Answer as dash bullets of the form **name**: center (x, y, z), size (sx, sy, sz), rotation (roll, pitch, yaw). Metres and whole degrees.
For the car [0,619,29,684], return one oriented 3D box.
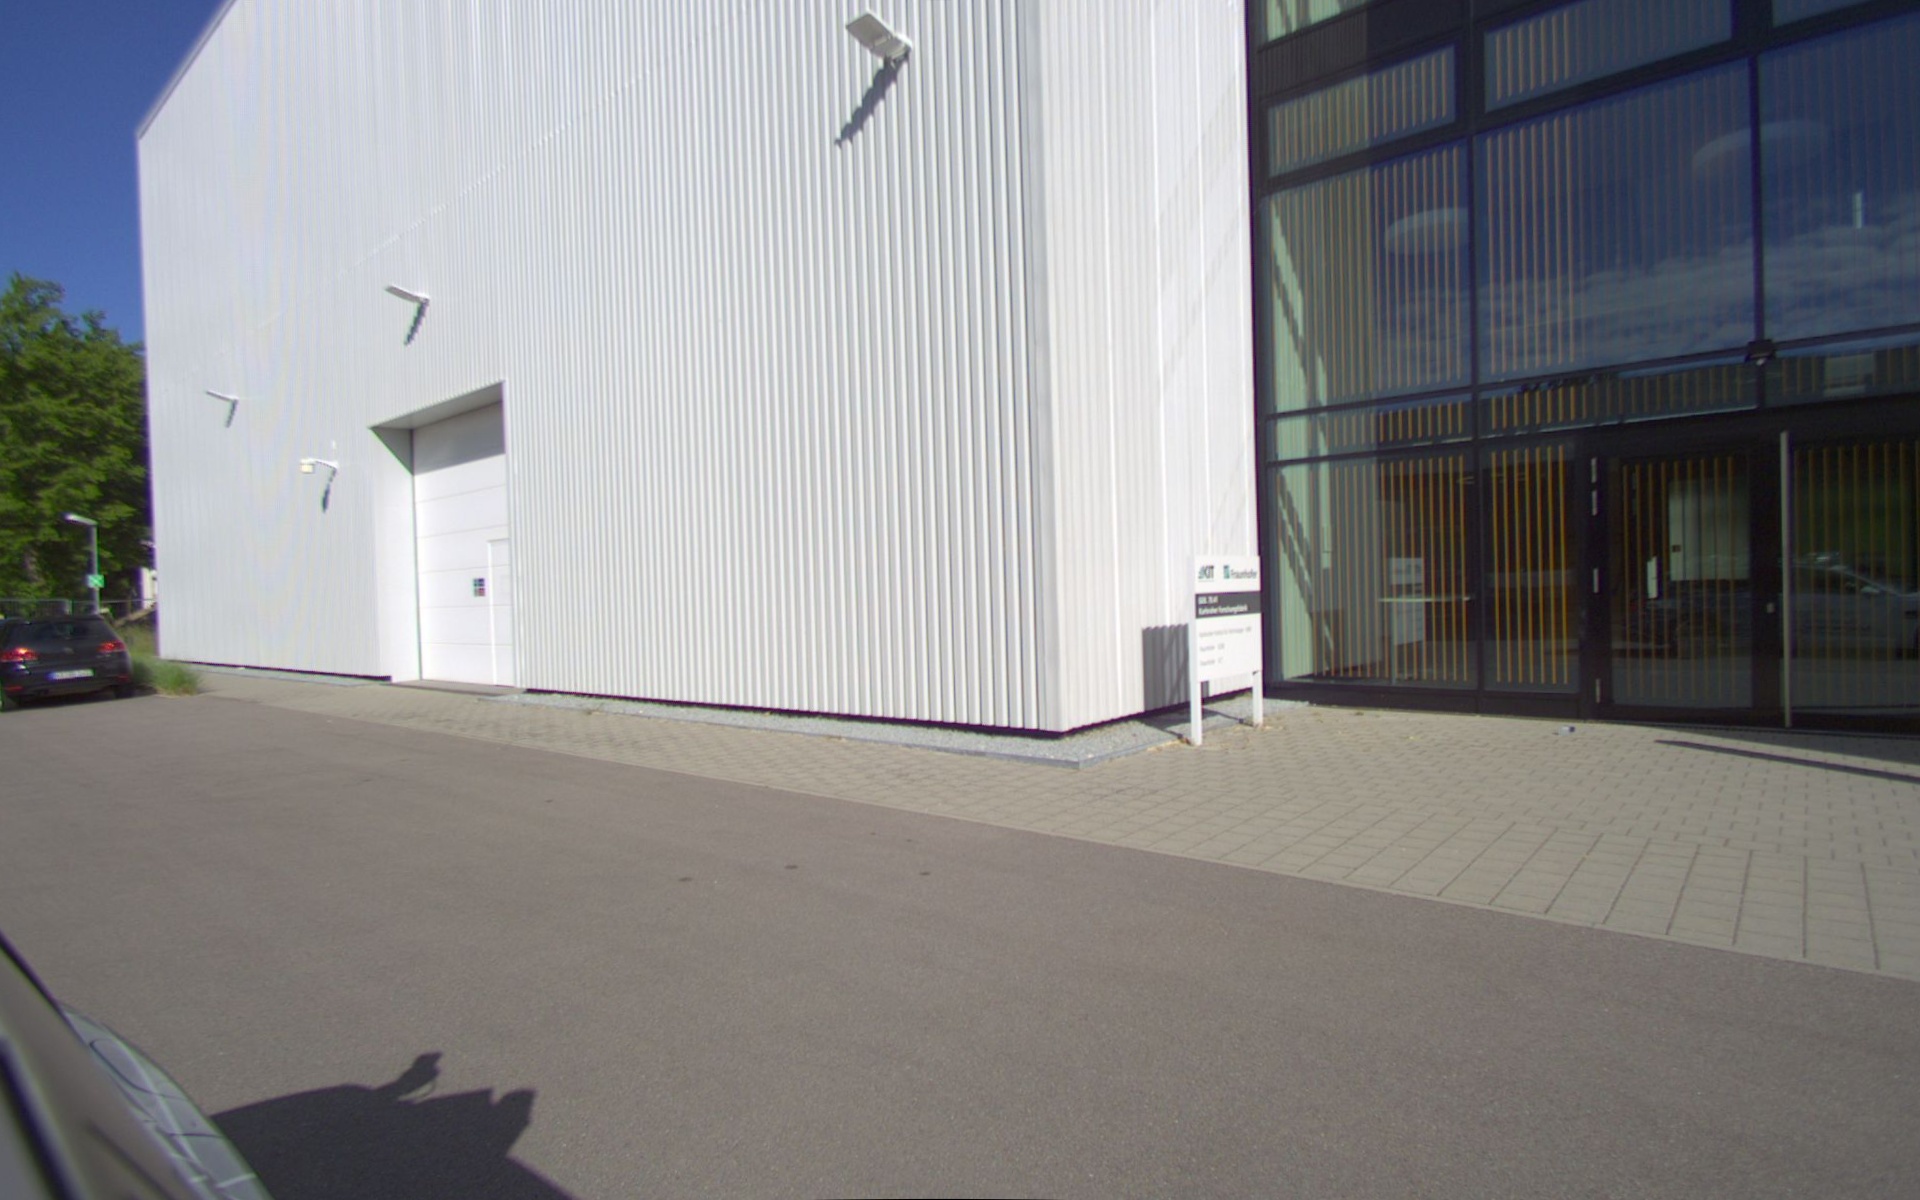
- **car**: center (-23.502, 1.264, 23.880), size (3.794, 1.459, 1.695), rotation (-2, 2, 39)

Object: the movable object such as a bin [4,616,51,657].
- **movable object such as a bin**: center (-33.529, 1.308, 36.395), size (1.288, 1.445, 1.126), rotation (-2, -1, 41)

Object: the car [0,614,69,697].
- **car**: center (-19.315, 1.118, 20.306), size (3.518, 1.499, 1.533), rotation (-2, 2, 39)

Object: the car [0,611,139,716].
- **car**: center (-15.650, 1.031, 17.297), size (4.312, 1.456, 1.738), rotation (-2, 3, 41)

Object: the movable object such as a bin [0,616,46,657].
- **movable object such as a bin**: center (-34.546, 1.340, 37.303), size (1.279, 1.489, 1.126), rotation (-3, -2, 41)
